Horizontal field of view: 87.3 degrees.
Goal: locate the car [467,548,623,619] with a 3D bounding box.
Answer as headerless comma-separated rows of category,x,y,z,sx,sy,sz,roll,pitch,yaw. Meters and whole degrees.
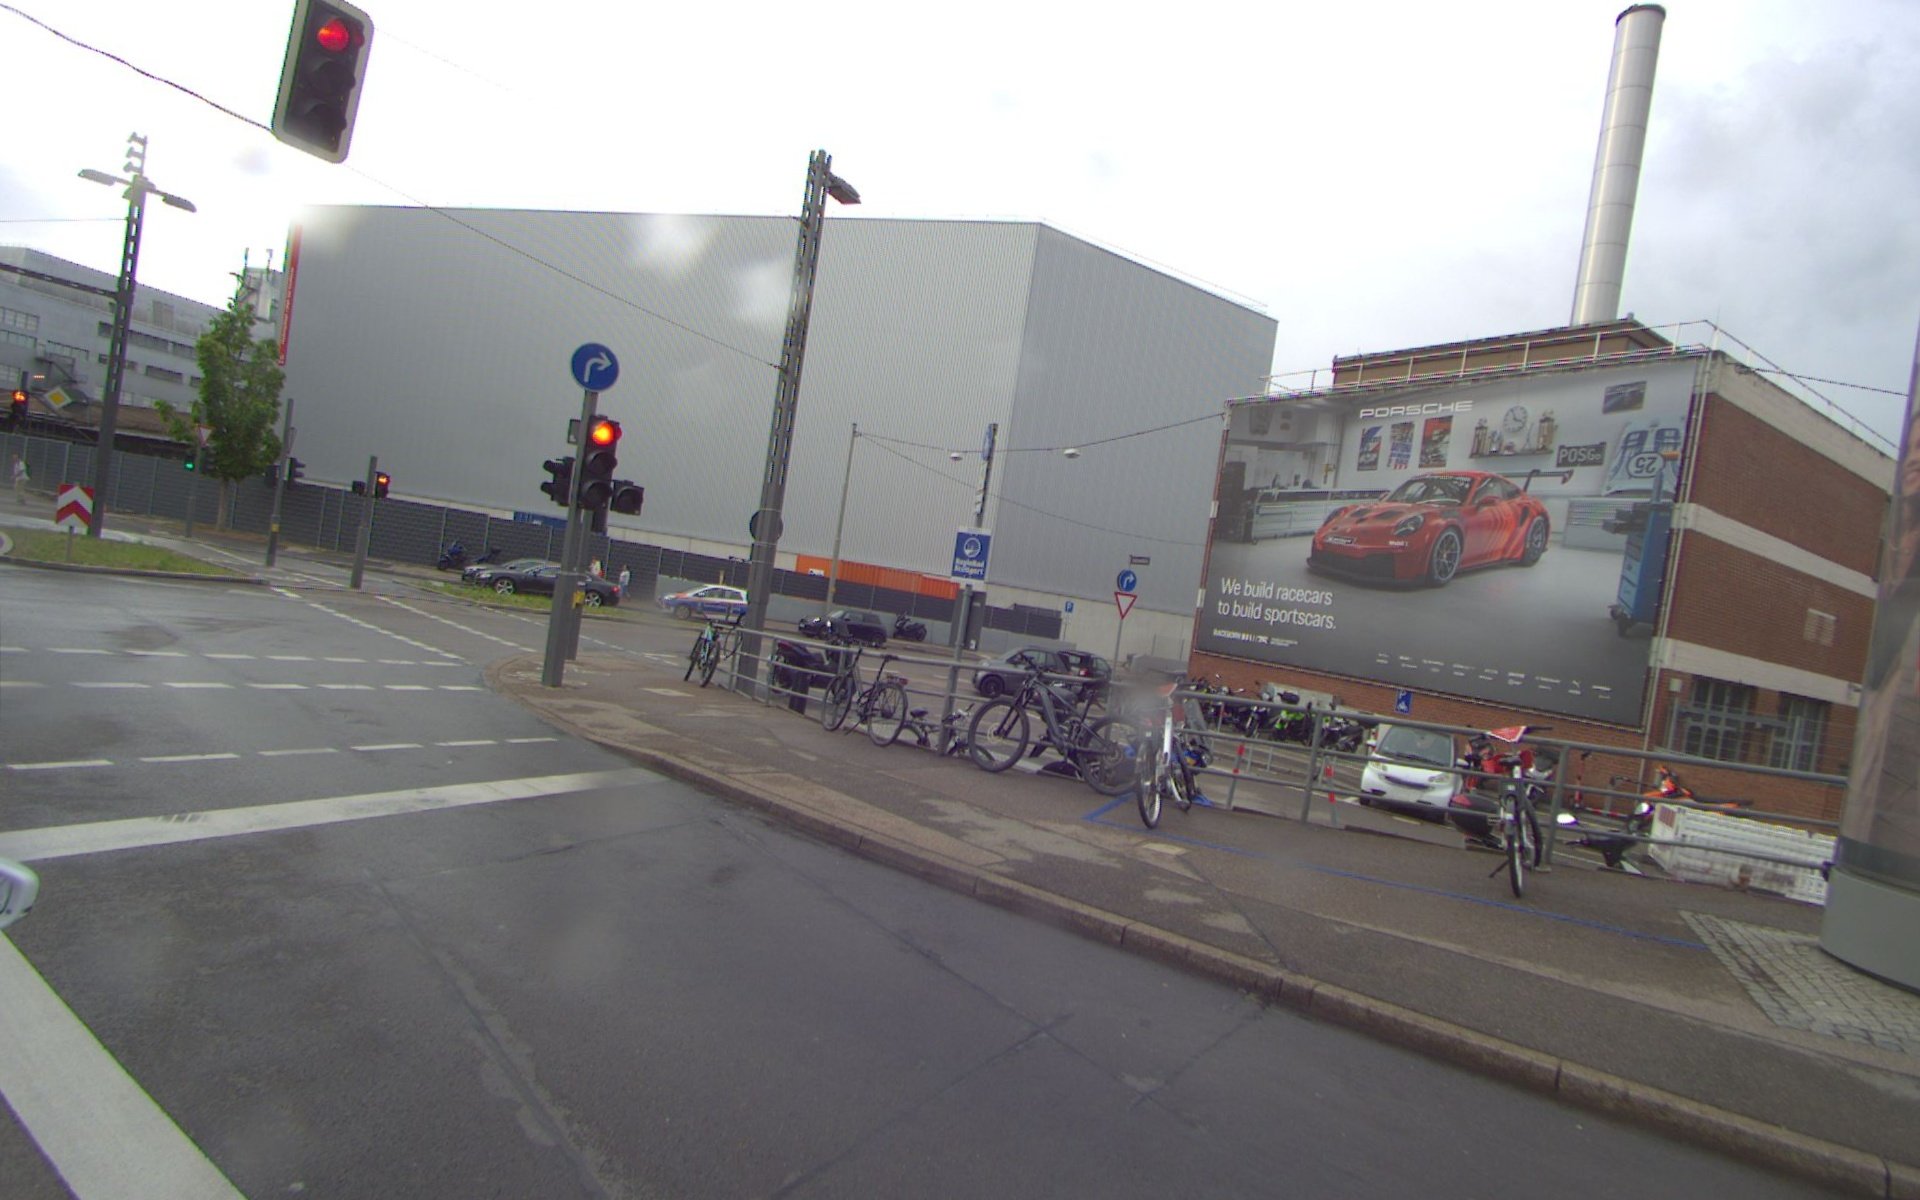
car,-13.818,-0.539,33.555,4.536,1.557,1.744,10,-1,-29

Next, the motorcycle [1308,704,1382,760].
motorcycle,9.312,3.182,24.291,2.005,1.206,0.603,6,3,-38

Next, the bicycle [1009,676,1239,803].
bicycle,1.642,1.377,10.253,2.138,0.916,0.693,6,-1,32

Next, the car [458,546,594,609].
car,-15.662,-0.803,36.364,4.254,1.557,1.744,10,-1,-29

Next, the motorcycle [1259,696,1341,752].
motorcycle,8.477,3.102,25.042,1.999,1.206,0.605,6,3,-29

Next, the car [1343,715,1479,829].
car,8.408,3.067,18.596,1.665,1.499,3.555,10,1,31

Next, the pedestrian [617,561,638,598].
pedestrian,-14.075,-0.863,42.575,0.642,1.499,0.436,7,0,-25

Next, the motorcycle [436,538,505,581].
motorcycle,-19.758,-1.625,40.600,2.335,1.360,0.648,8,0,-30

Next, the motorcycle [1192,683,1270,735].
motorcycle,7.308,2.941,27.094,1.998,1.206,0.605,6,3,-27

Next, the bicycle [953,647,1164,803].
bicycle,0.902,1.152,9.648,1.969,1.176,0.385,6,0,35

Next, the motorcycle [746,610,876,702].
motorcycle,-2.683,1.049,18.386,0.746,1.469,2.225,8,-1,42

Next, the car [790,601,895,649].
car,-5.027,1.073,43.103,3.958,1.408,1.744,10,-1,-29

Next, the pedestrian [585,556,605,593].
pedestrian,-15.367,-1.079,42.322,0.605,1.499,0.421,7,0,-23

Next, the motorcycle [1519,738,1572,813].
motorcycle,12.444,3.689,21.350,0.564,1.327,1.863,10,3,37

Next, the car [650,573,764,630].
car,-10.087,0.071,40.121,3.939,1.620,1.897,10,-1,-29

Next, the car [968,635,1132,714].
car,2.395,2.013,27.503,4.091,1.547,1.836,8,-2,-3

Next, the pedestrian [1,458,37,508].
pedestrian,-33.742,-4.185,36.092,0.805,1.630,0.760,6,0,-41

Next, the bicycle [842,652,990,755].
bicycle,-0.534,1.162,11.527,1.789,0.916,0.530,6,-1,44

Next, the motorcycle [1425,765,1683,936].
motorcycle,5.071,2.119,8.729,1.718,1.002,0.699,8,0,21

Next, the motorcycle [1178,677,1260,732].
motorcycle,7.247,2.924,28.204,1.987,1.206,0.608,7,3,-4

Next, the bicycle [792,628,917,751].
bicycle,-1.212,0.966,11.253,0.383,1.133,1.731,6,0,-39

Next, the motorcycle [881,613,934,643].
motorcycle,-2.700,1.467,51.693,2.471,1.200,0.991,8,-1,-34

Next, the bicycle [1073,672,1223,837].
bicycle,1.629,1.228,8.451,0.666,1.154,1.774,6,-1,27

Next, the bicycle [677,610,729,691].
bicycle,-4.112,0.775,16.027,0.381,1.111,1.740,6,0,-25

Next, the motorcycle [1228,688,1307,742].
motorcycle,7.998,2.985,26.111,1.999,1.206,0.605,6,3,-29

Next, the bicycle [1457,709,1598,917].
bicycle,4.122,1.476,7.427,0.581,1.176,1.805,6,0,23

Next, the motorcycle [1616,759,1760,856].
motorcycle,14.107,3.978,19.542,0.922,1.327,1.961,5,4,-41

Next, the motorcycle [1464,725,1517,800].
motorcycle,11.666,3.526,22.085,0.677,1.327,2.016,9,3,33
